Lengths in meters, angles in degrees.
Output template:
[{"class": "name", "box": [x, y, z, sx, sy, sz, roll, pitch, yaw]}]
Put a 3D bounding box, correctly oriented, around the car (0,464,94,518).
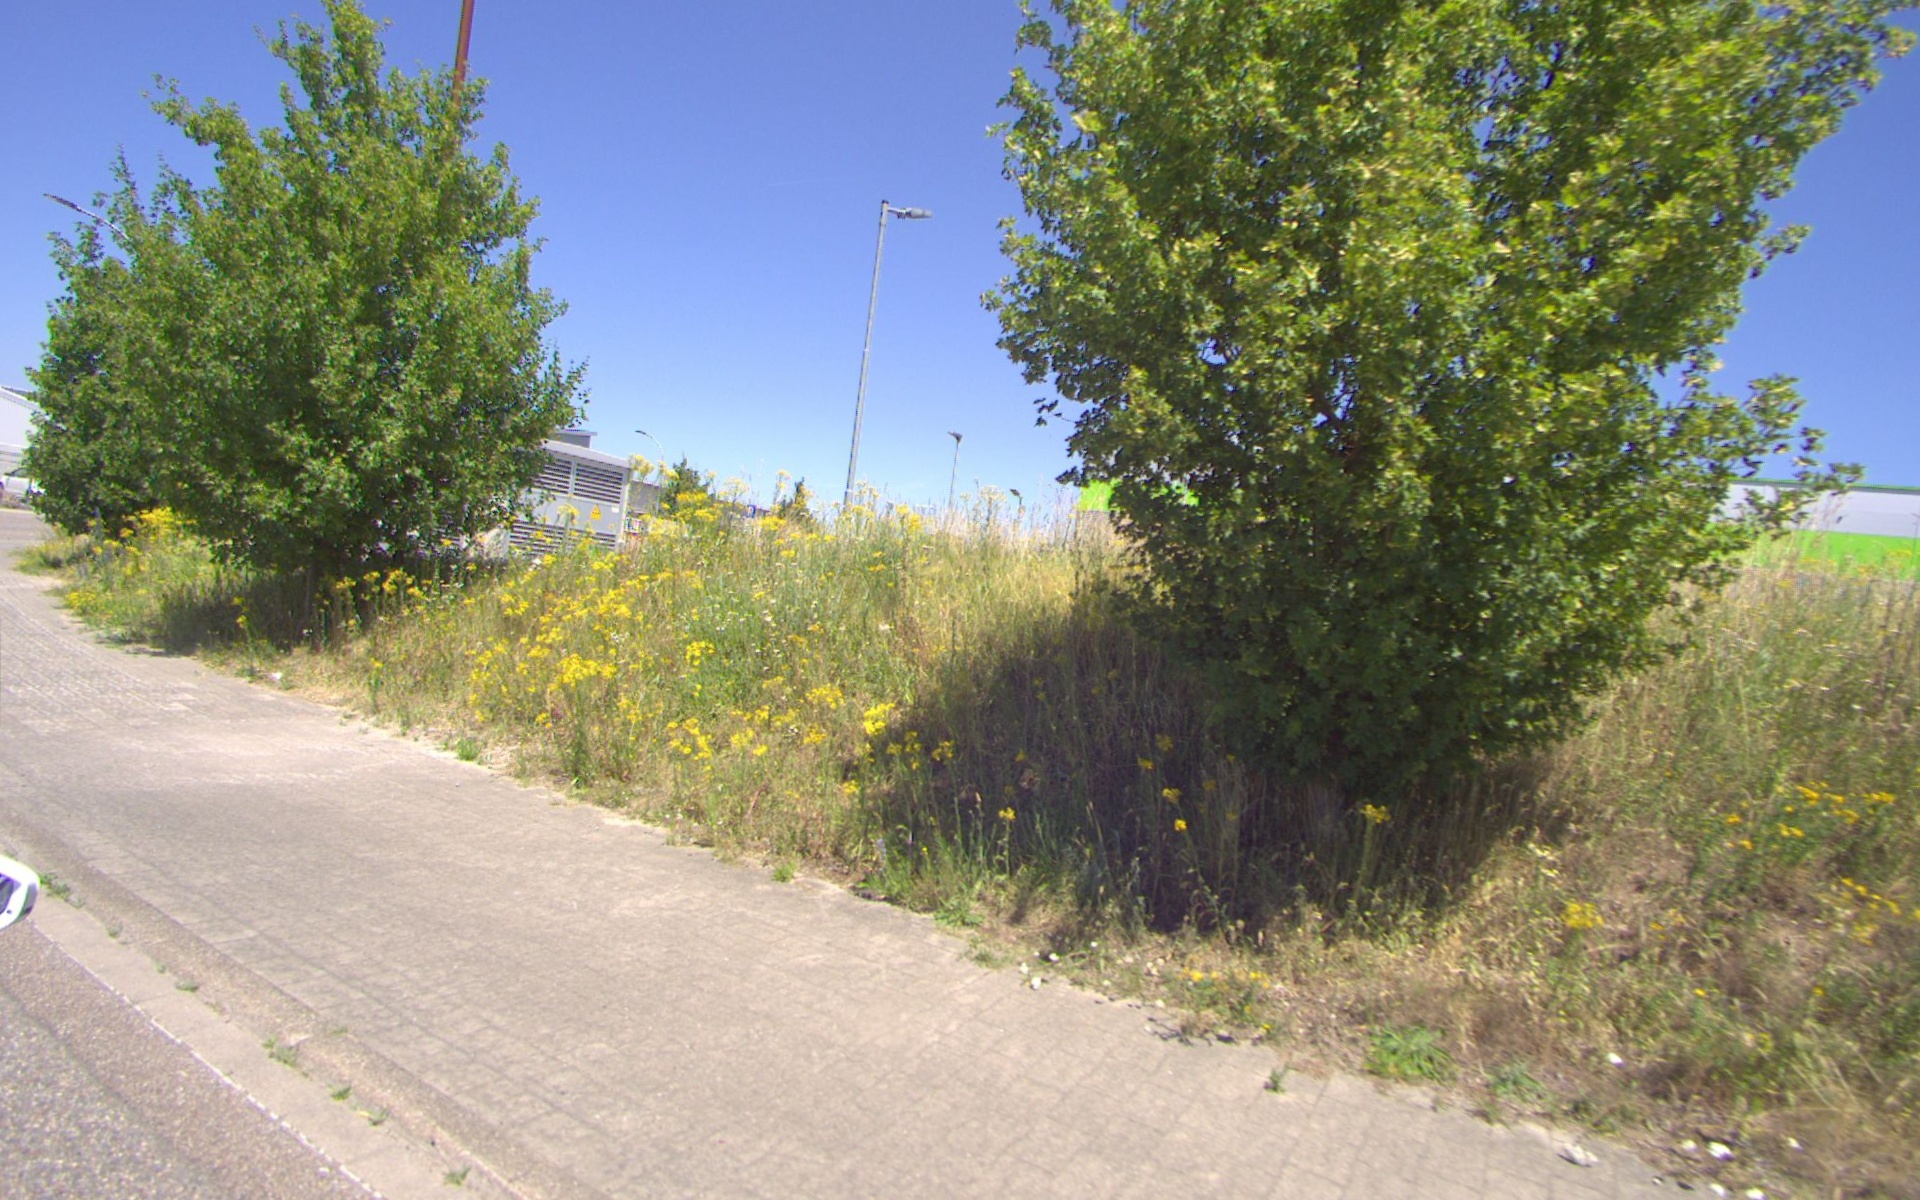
[{"class": "car", "box": [-36.681, -4.361, 40.137, 3.636, 1.517, 1.787, 11, 3, 24]}]
